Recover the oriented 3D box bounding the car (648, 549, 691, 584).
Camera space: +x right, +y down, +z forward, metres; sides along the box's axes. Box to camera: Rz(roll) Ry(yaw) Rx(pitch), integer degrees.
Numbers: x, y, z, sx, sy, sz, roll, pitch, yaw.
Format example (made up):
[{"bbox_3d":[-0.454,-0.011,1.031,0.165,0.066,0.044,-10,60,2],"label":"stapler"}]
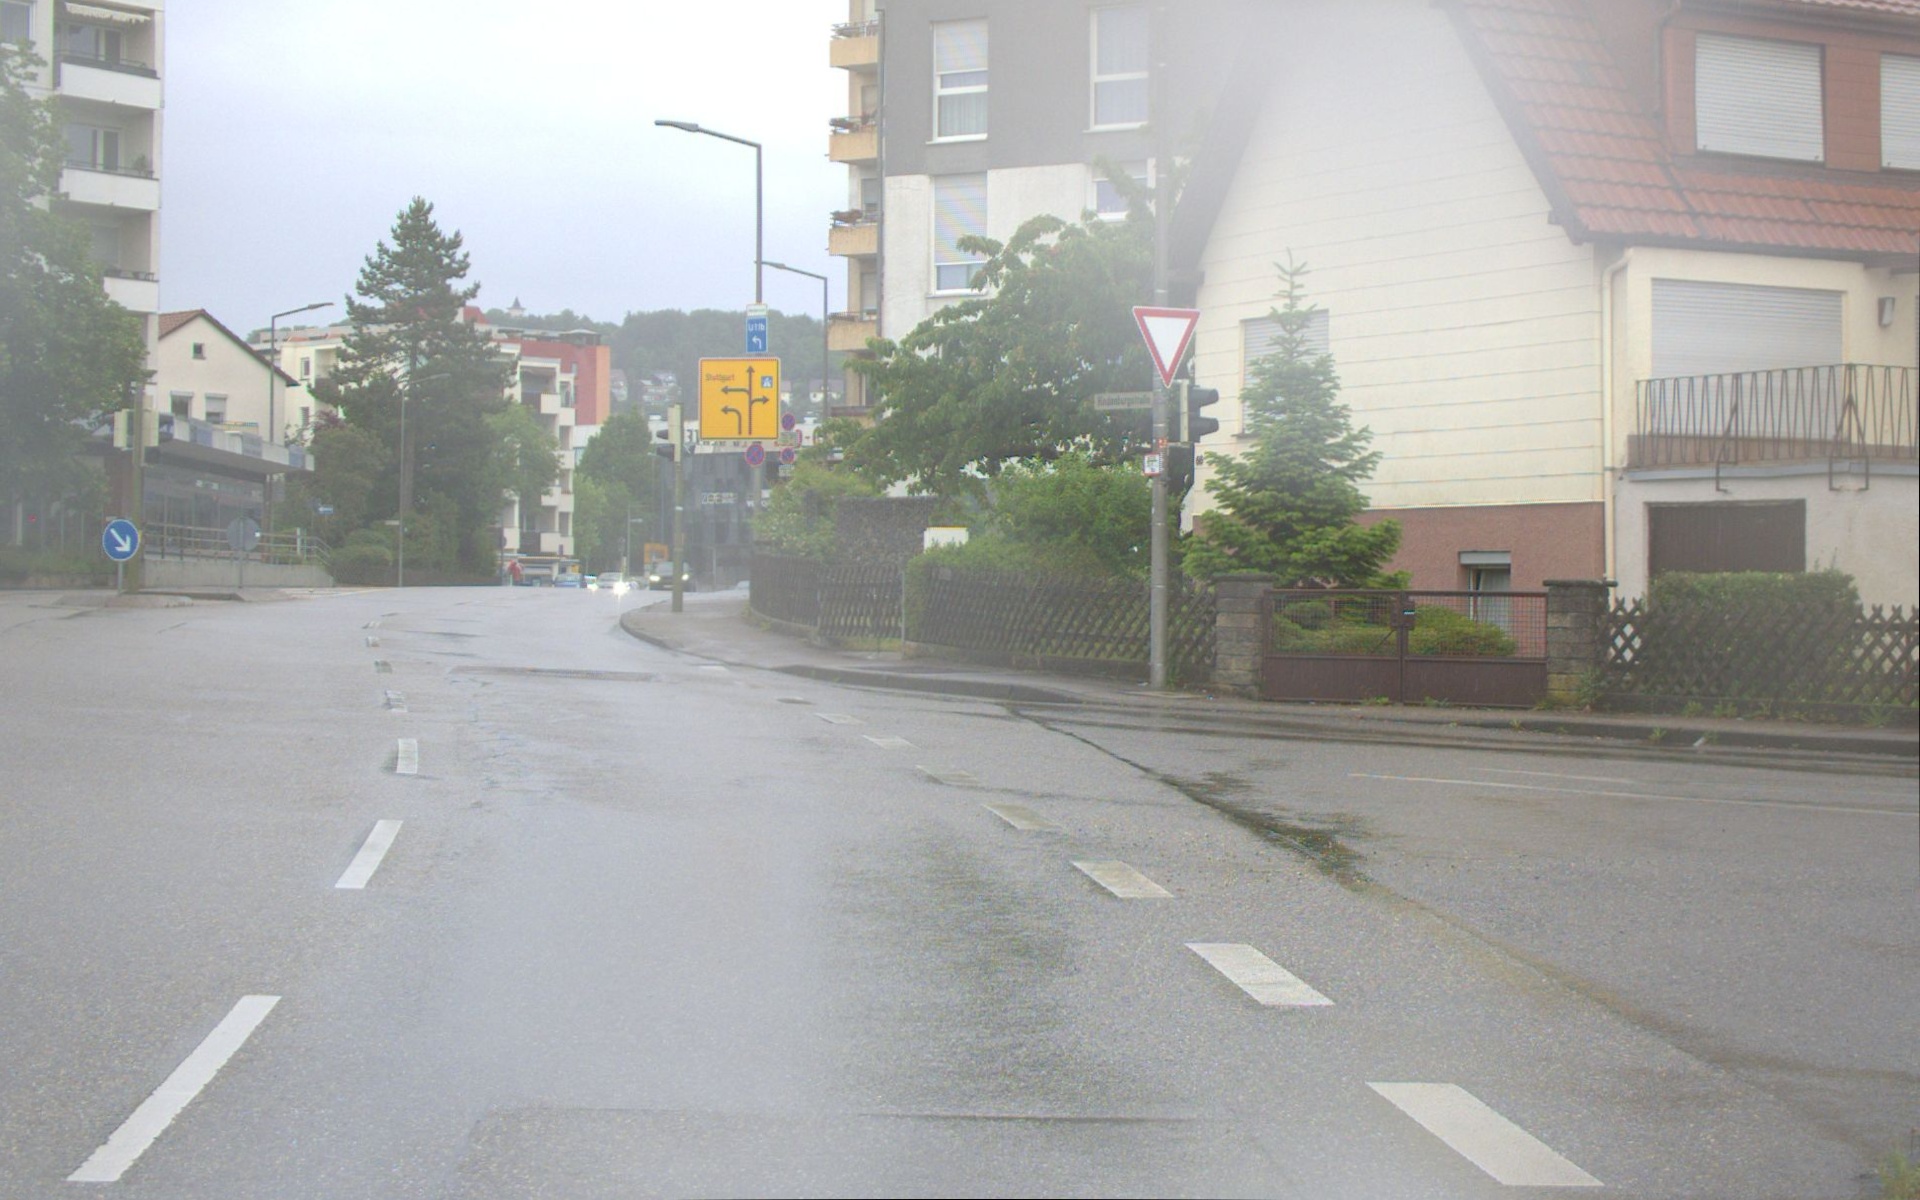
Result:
[{"bbox_3d":[-14.722,-1.694,174.151,1.993,1.731,5.182,1,1,-7],"label":"car"}]
